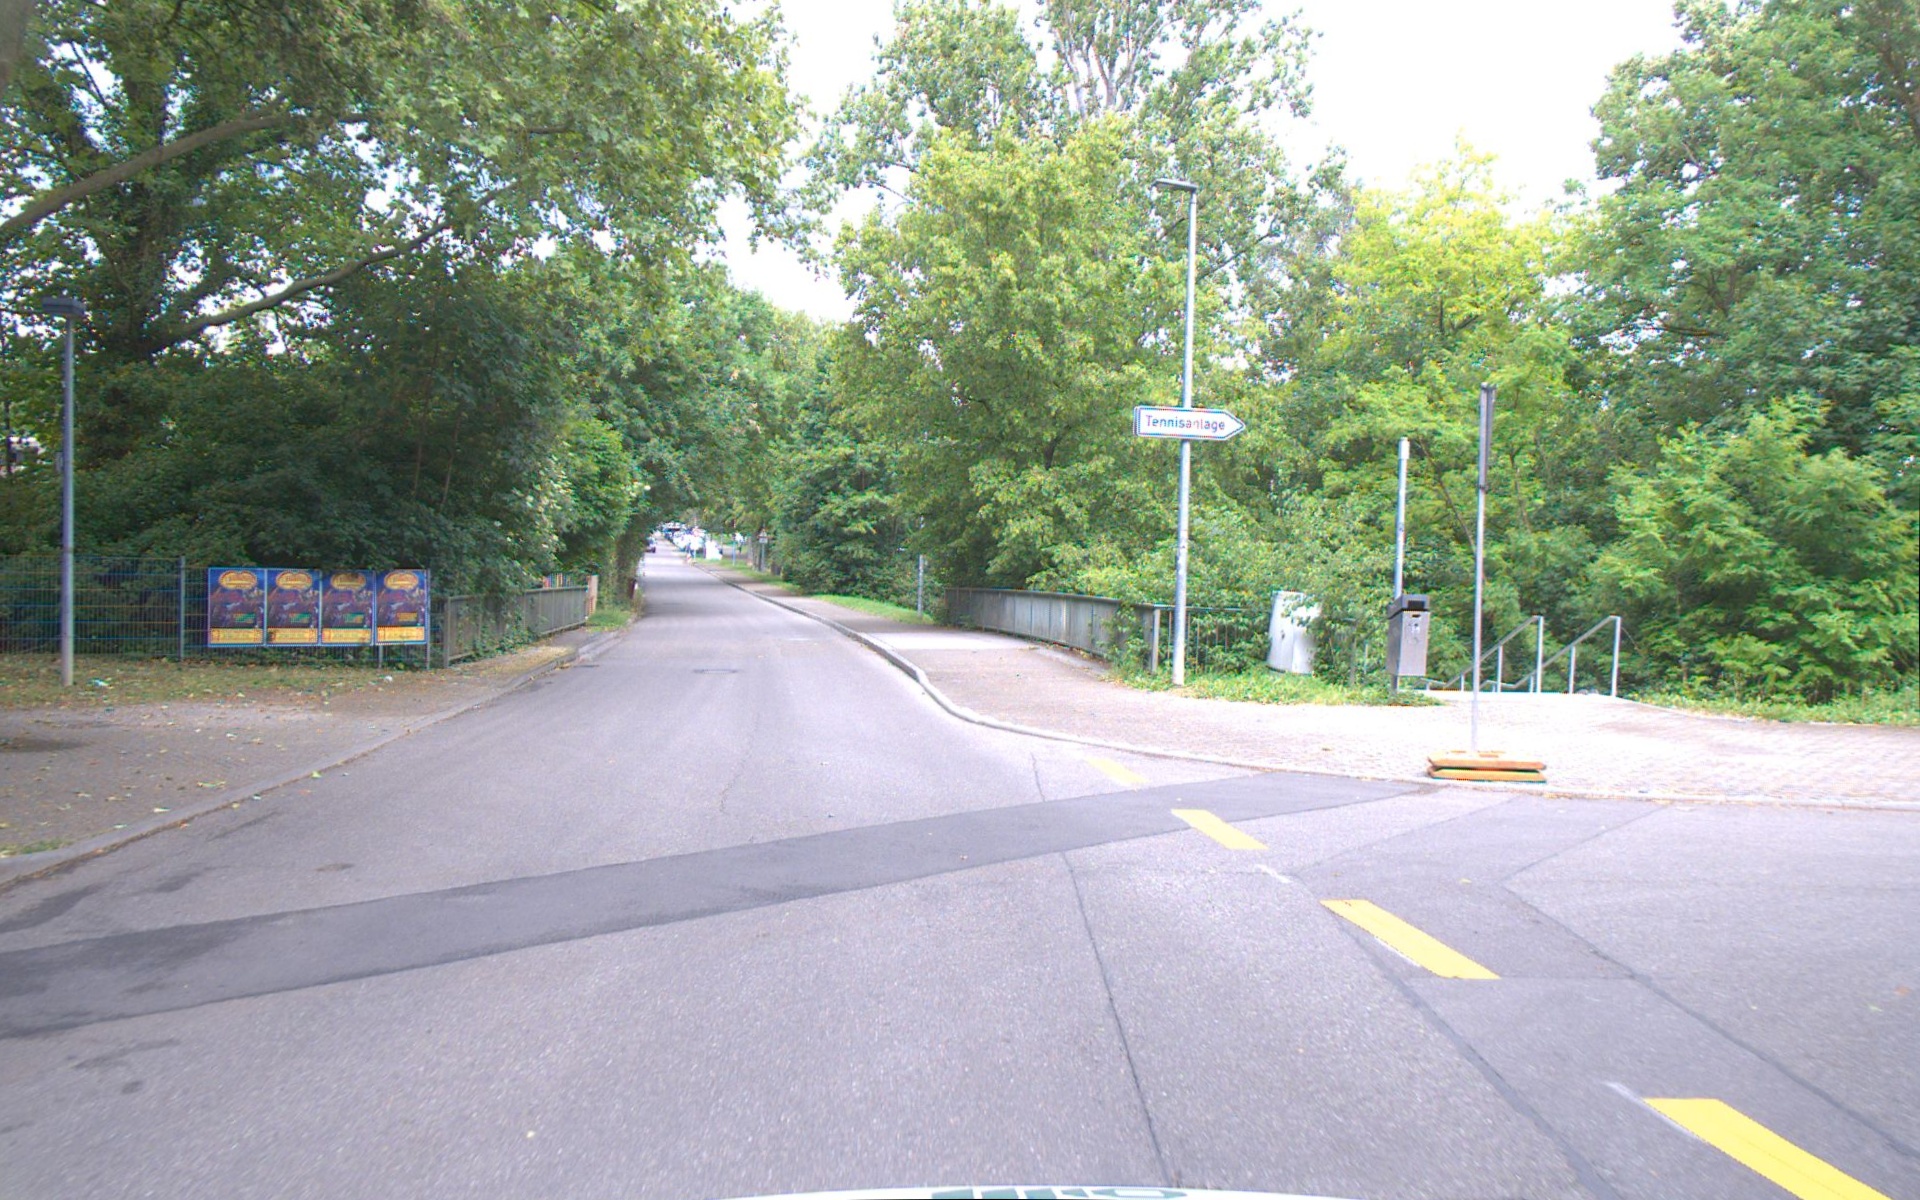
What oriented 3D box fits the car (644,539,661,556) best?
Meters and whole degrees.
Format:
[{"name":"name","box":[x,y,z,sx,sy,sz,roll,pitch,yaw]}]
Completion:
[{"name":"car","box":[-36.377,-6.231,195.626,1.957,1.803,3.991,1,0,-10]}]

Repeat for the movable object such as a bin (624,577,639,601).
[{"name":"movable object such as a bin","box":[-13.314,-0.454,67.048,0.579,0.974,0.469,1,0,-10]}]
